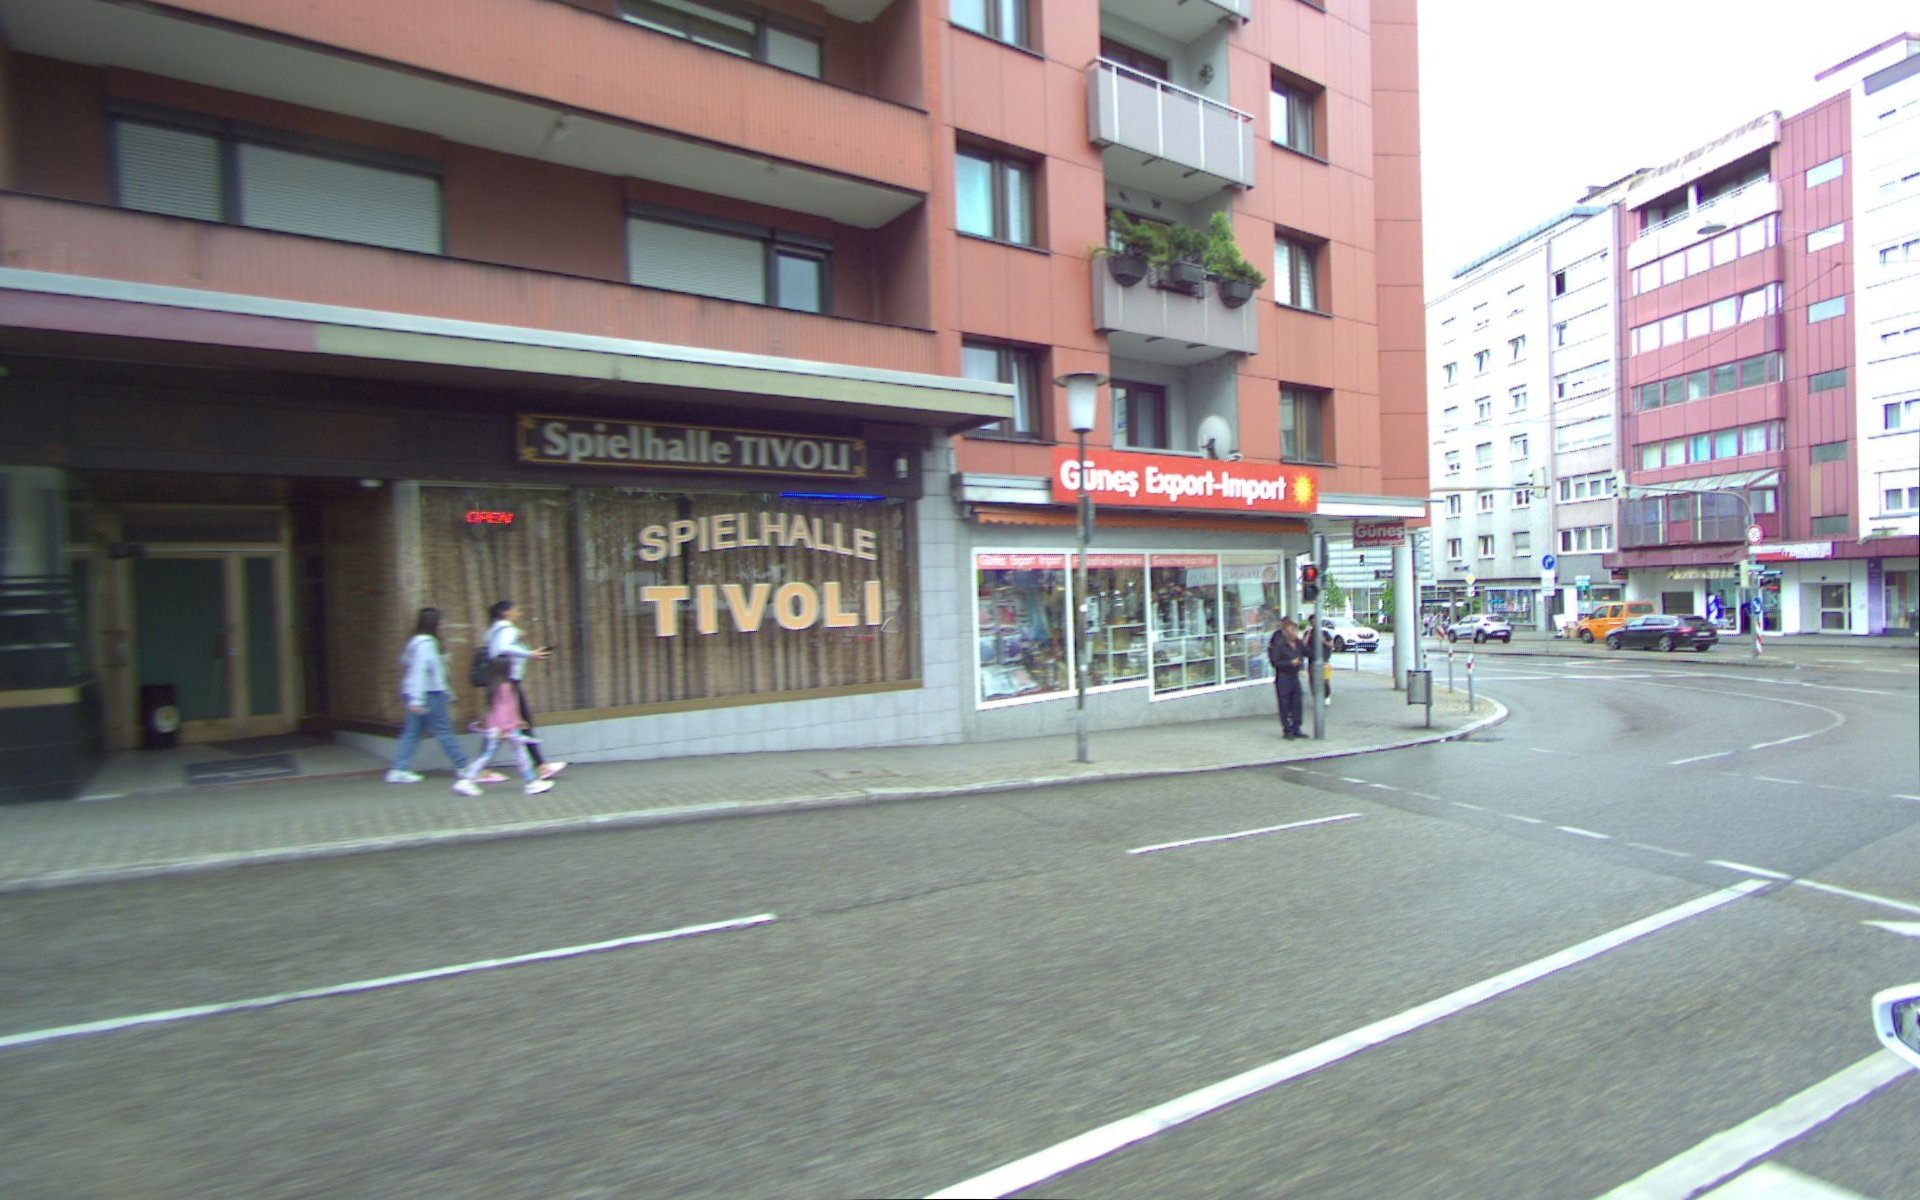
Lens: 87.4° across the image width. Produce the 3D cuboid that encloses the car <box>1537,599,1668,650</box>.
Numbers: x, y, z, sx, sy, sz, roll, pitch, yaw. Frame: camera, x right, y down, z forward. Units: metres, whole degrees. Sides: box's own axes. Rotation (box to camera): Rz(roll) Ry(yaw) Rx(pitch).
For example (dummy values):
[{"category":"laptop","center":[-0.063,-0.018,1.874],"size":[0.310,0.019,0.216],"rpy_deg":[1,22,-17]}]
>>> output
[{"category":"car","center":[31.343,1.134,49.237],"size":[2.210,2.257,5.416],"rpy_deg":[2,0,-12]}]

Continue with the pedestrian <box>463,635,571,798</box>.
[{"category":"pedestrian","center":[-3.925,0.998,8.904],"size":[0.718,1.341,0.528],"rpy_deg":[1,1,-43]}]

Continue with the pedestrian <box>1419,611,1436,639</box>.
[{"category":"pedestrian","center":[33.876,1.792,72.839],"size":[0.847,2.040,0.805],"rpy_deg":[1,-1,-37]}]

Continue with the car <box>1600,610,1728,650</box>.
[{"category":"car","center":[28.543,1.208,40.883],"size":[1.963,1.505,4.233],"rpy_deg":[1,-1,-7]}]

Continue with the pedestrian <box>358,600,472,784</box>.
[{"category":"pedestrian","center":[-5.045,0.808,9.292],"size":[0.718,1.581,0.819],"rpy_deg":[1,1,-43]}]

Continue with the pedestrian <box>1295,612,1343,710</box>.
[{"category":"pedestrian","center":[6.986,1.165,19.577],"size":[0.813,1.856,0.724],"rpy_deg":[1,-1,14]}]

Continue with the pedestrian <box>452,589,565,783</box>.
[{"category":"pedestrian","center":[-4.286,0.772,9.528],"size":[0.718,1.712,0.819],"rpy_deg":[1,1,-43]}]

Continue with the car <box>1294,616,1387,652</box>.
[{"category":"car","center":[18.246,1.602,48.402],"size":[1.965,1.577,4.725],"rpy_deg":[-1,-1,-12]}]

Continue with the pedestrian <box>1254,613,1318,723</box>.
[{"category":"pedestrian","center":[5.760,1.177,17.759],"size":[0.838,1.873,0.753],"rpy_deg":[1,-1,-42]}]

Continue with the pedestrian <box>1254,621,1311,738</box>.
[{"category":"pedestrian","center":[4.895,1.193,15.250],"size":[0.618,1.720,0.550],"rpy_deg":[1,-1,-38]}]

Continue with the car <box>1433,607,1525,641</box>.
[{"category":"car","center":[27.438,1.253,53.293],"size":[1.896,1.535,4.656],"rpy_deg":[3,0,-8]}]
